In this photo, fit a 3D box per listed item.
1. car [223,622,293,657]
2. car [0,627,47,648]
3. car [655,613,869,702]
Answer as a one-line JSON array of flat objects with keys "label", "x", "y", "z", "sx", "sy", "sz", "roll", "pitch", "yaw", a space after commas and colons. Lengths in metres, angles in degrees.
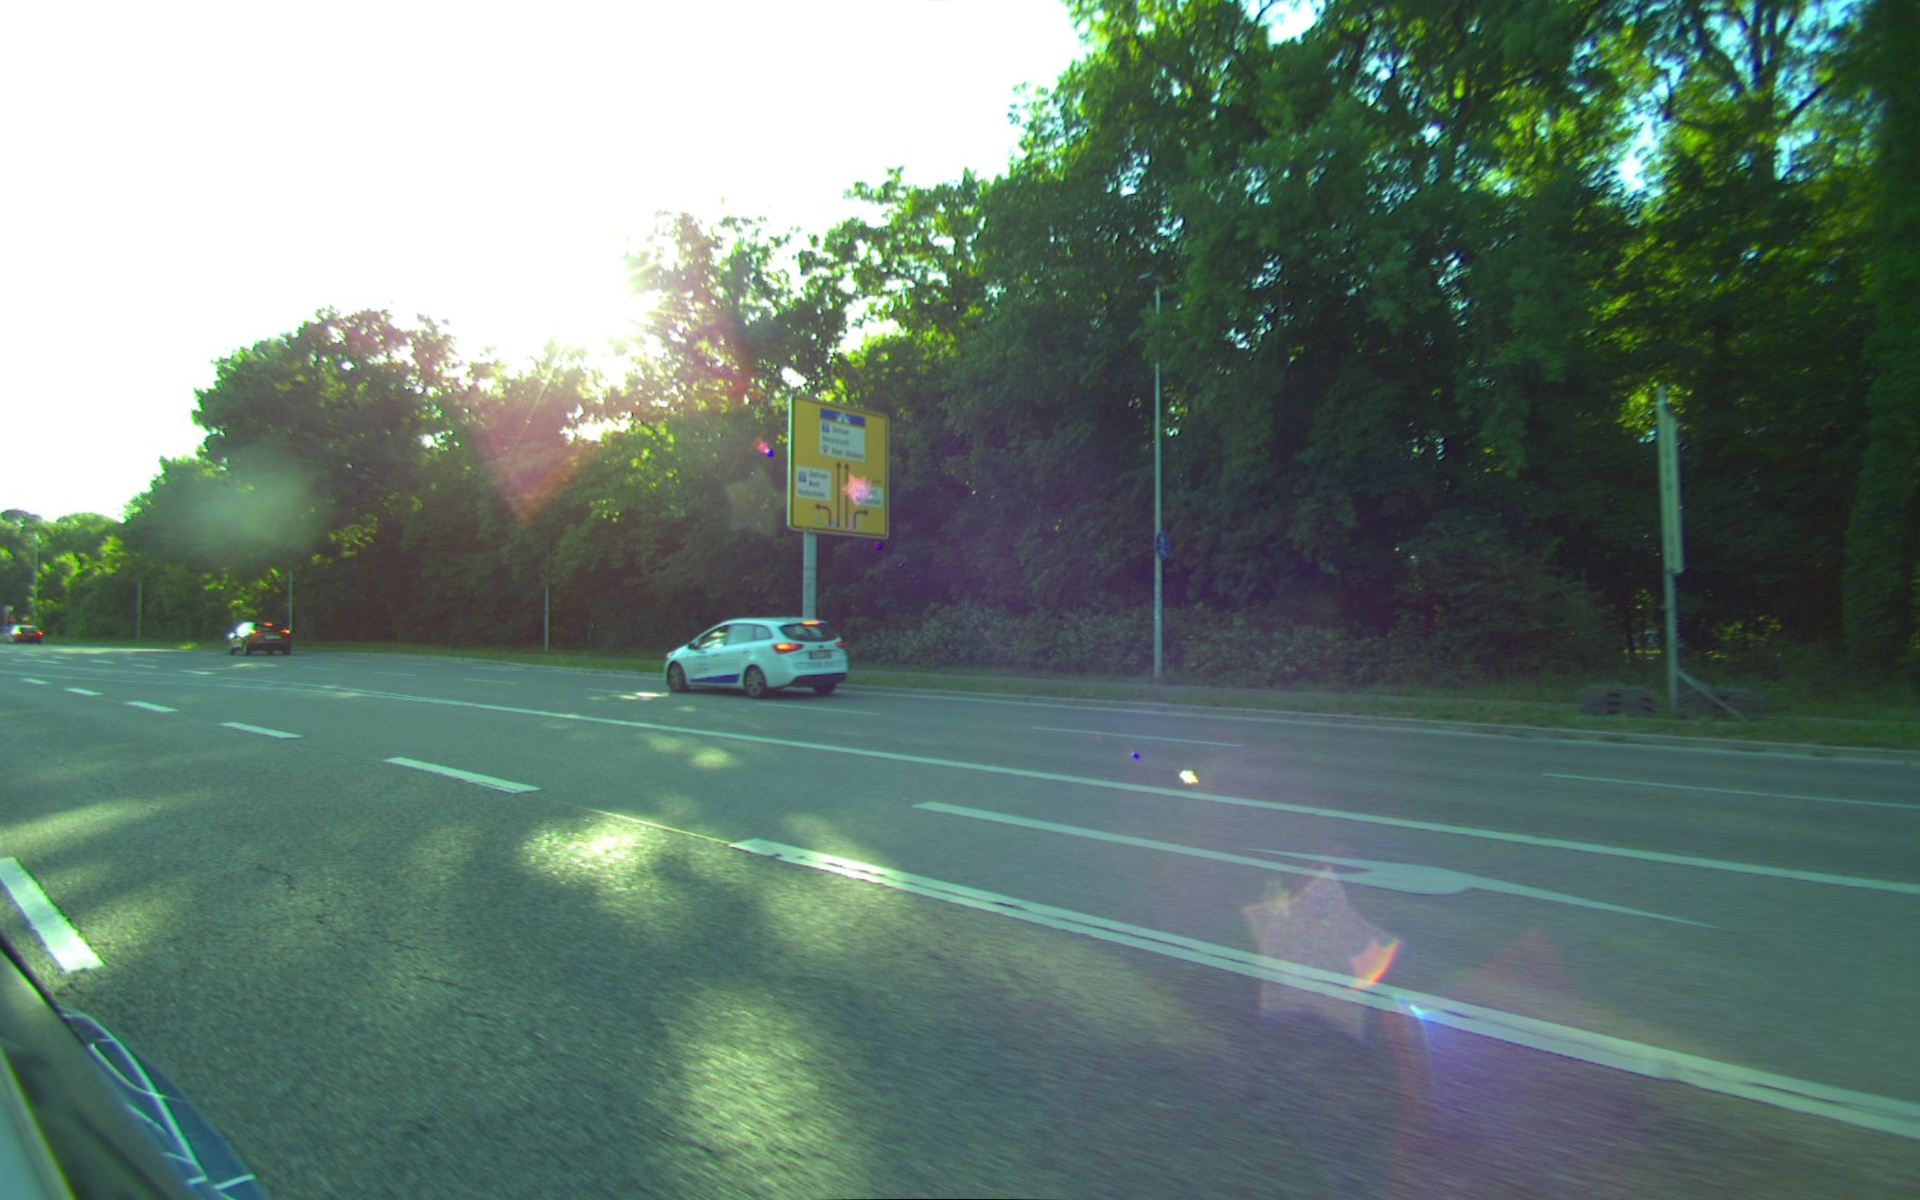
[{"label": "car", "x": -32.285, "y": 1.792, "z": 46.528, "sx": 4.257, "sy": 1.556, "sz": 1.804, "roll": -1, "pitch": -2, "yaw": 44}, {"label": "car", "x": -73.373, "y": 2.906, "z": 79.272, "sx": 4.330, "sy": 1.576, "sz": 1.975, "roll": -1, "pitch": -3, "yaw": 37}, {"label": "car", "x": -3.881, "y": 1.042, "z": 19.435, "sx": 4.305, "sy": 1.515, "sz": 1.805, "roll": -1, "pitch": -2, "yaw": 42}]
